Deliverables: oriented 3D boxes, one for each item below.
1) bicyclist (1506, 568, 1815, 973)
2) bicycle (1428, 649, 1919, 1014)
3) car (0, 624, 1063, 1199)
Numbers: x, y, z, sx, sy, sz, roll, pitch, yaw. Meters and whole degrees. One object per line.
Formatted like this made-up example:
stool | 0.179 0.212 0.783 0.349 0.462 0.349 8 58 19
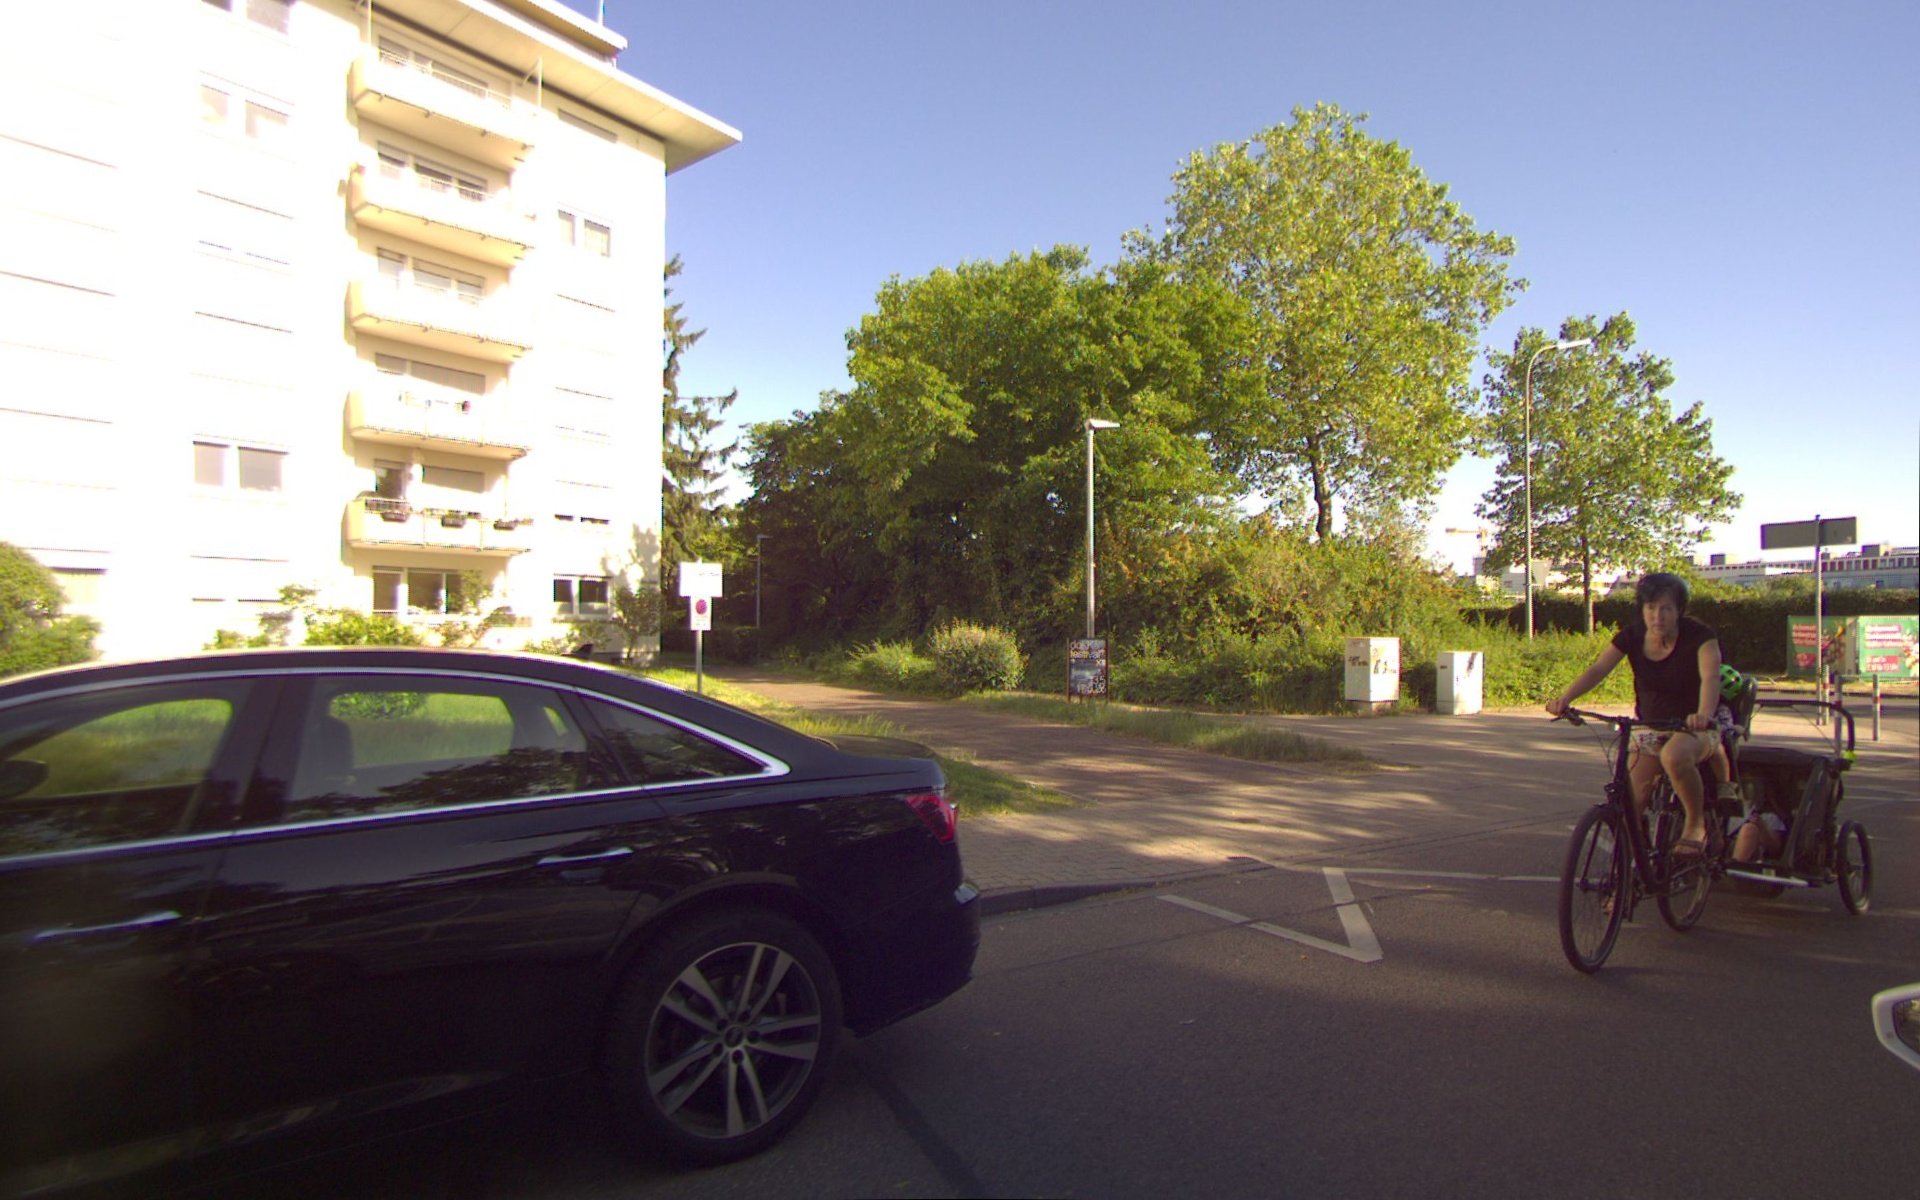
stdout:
bicyclist | 3.342 0.727 4.820 1.052 1.680 0.841 1 -2 -30
bicycle | 3.755 0.952 5.079 3.183 1.388 0.847 1 -3 -31
car | -2.069 0.854 2.900 4.630 1.483 1.719 0 -3 -32
